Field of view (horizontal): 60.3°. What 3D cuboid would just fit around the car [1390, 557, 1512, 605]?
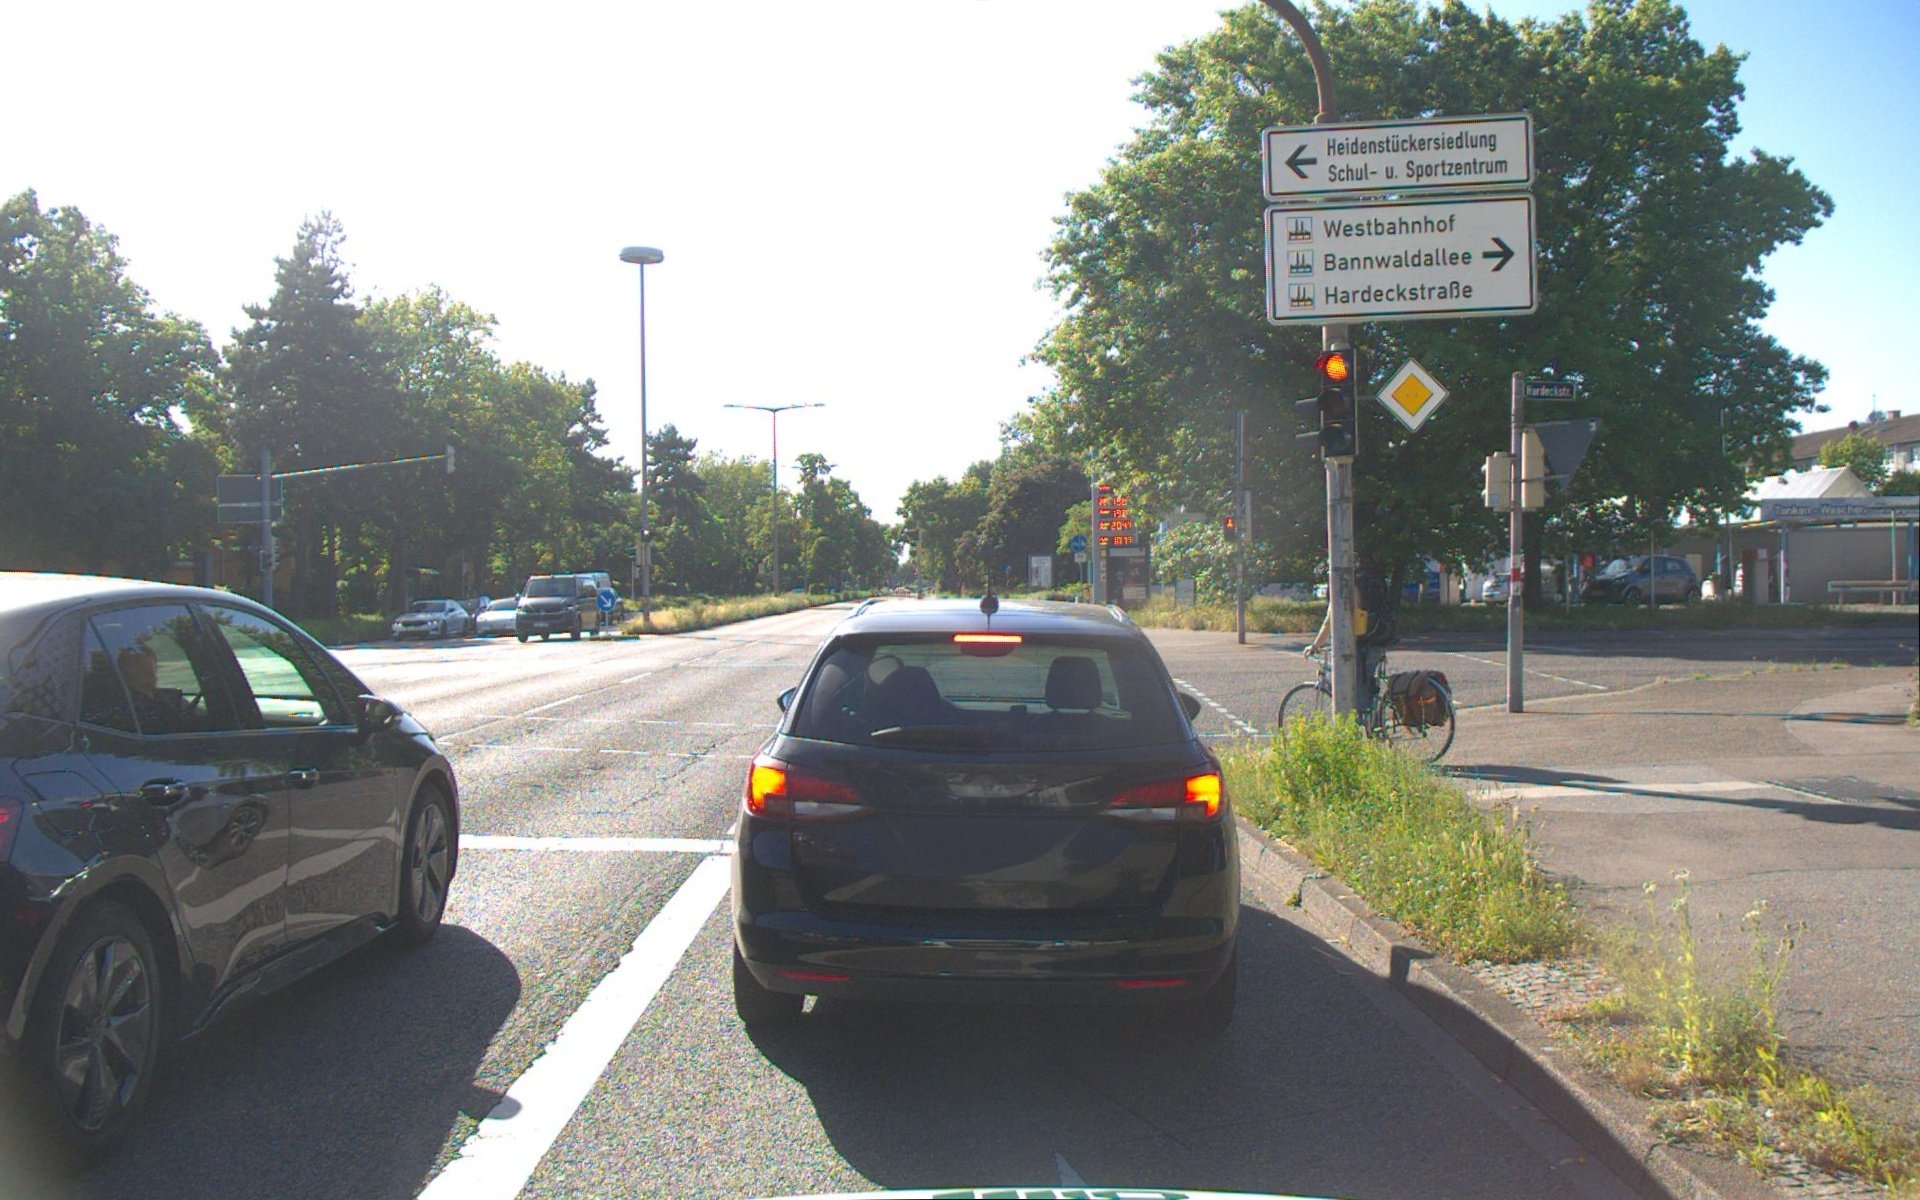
[{"bbox_3d":[16.909,-0.649,56.981,3.837,1.544,1.732,-2,0,-24],"label":"car"}]

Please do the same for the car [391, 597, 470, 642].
[{"bbox_3d":[-19.623,0.699,61.441,1.652,1.535,4.003,-1,0,-1],"label":"car"}]

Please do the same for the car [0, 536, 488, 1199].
[{"bbox_3d":[-3.005,0.660,5.603,1.650,1.608,4.206,0,0,-1],"label":"car"}]

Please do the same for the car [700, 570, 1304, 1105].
[{"bbox_3d":[0.095,0.686,6.835,1.721,1.521,4.206,0,0,-1],"label":"car"}]

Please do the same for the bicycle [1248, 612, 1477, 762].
[{"bbox_3d":[3.220,0.702,13.368,0.533,1.117,1.748,-2,-2,-44],"label":"bicycle"}]

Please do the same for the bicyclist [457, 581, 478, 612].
[{"bbox_3d":[-26.793,-0.183,89.995,0.858,1.677,1.198,-2,0,-4],"label":"bicyclist"}]

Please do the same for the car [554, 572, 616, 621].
[{"bbox_3d":[-20.504,-0.188,90.662,2.057,2.536,6.003,-1,0,-1],"label":"car"}]

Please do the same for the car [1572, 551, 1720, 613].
[{"bbox_3d":[19.987,-0.531,48.191,3.934,1.709,1.732,-2,0,-24],"label":"car"}]

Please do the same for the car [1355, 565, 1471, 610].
[{"bbox_3d":[16.432,-0.461,60.056,3.837,1.544,1.732,-2,0,-24],"label":"car"}]

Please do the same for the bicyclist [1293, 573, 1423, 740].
[{"bbox_3d":[3.213,0.456,13.370,0.534,1.299,0.816,-2,-2,-44],"label":"bicyclist"}]

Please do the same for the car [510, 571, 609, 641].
[{"bbox_3d":[-12.409,0.155,51.525,1.872,2.027,5.014,-1,0,-1],"label":"car"}]

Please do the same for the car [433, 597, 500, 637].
[{"bbox_3d":[-20.225,0.690,67.938,1.652,1.535,4.002,-1,0,-2],"label":"car"}]

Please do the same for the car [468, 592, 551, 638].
[{"bbox_3d":[-16.536,0.516,60.922,1.850,1.551,4.503,-1,0,-1],"label":"car"}]

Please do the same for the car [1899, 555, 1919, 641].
[{"bbox_3d":[19.243,-0.069,28.521,4.897,1.512,2.002,-1,0,11],"label":"car"}]

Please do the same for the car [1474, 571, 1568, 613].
[{"bbox_3d":[24.308,-0.356,71.683,3.947,1.709,1.727,-2,0,-32],"label":"car"}]

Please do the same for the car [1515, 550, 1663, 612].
[{"bbox_3d":[19.027,-0.580,50.038,3.935,1.780,1.985,-1,0,-24],"label":"car"}]
